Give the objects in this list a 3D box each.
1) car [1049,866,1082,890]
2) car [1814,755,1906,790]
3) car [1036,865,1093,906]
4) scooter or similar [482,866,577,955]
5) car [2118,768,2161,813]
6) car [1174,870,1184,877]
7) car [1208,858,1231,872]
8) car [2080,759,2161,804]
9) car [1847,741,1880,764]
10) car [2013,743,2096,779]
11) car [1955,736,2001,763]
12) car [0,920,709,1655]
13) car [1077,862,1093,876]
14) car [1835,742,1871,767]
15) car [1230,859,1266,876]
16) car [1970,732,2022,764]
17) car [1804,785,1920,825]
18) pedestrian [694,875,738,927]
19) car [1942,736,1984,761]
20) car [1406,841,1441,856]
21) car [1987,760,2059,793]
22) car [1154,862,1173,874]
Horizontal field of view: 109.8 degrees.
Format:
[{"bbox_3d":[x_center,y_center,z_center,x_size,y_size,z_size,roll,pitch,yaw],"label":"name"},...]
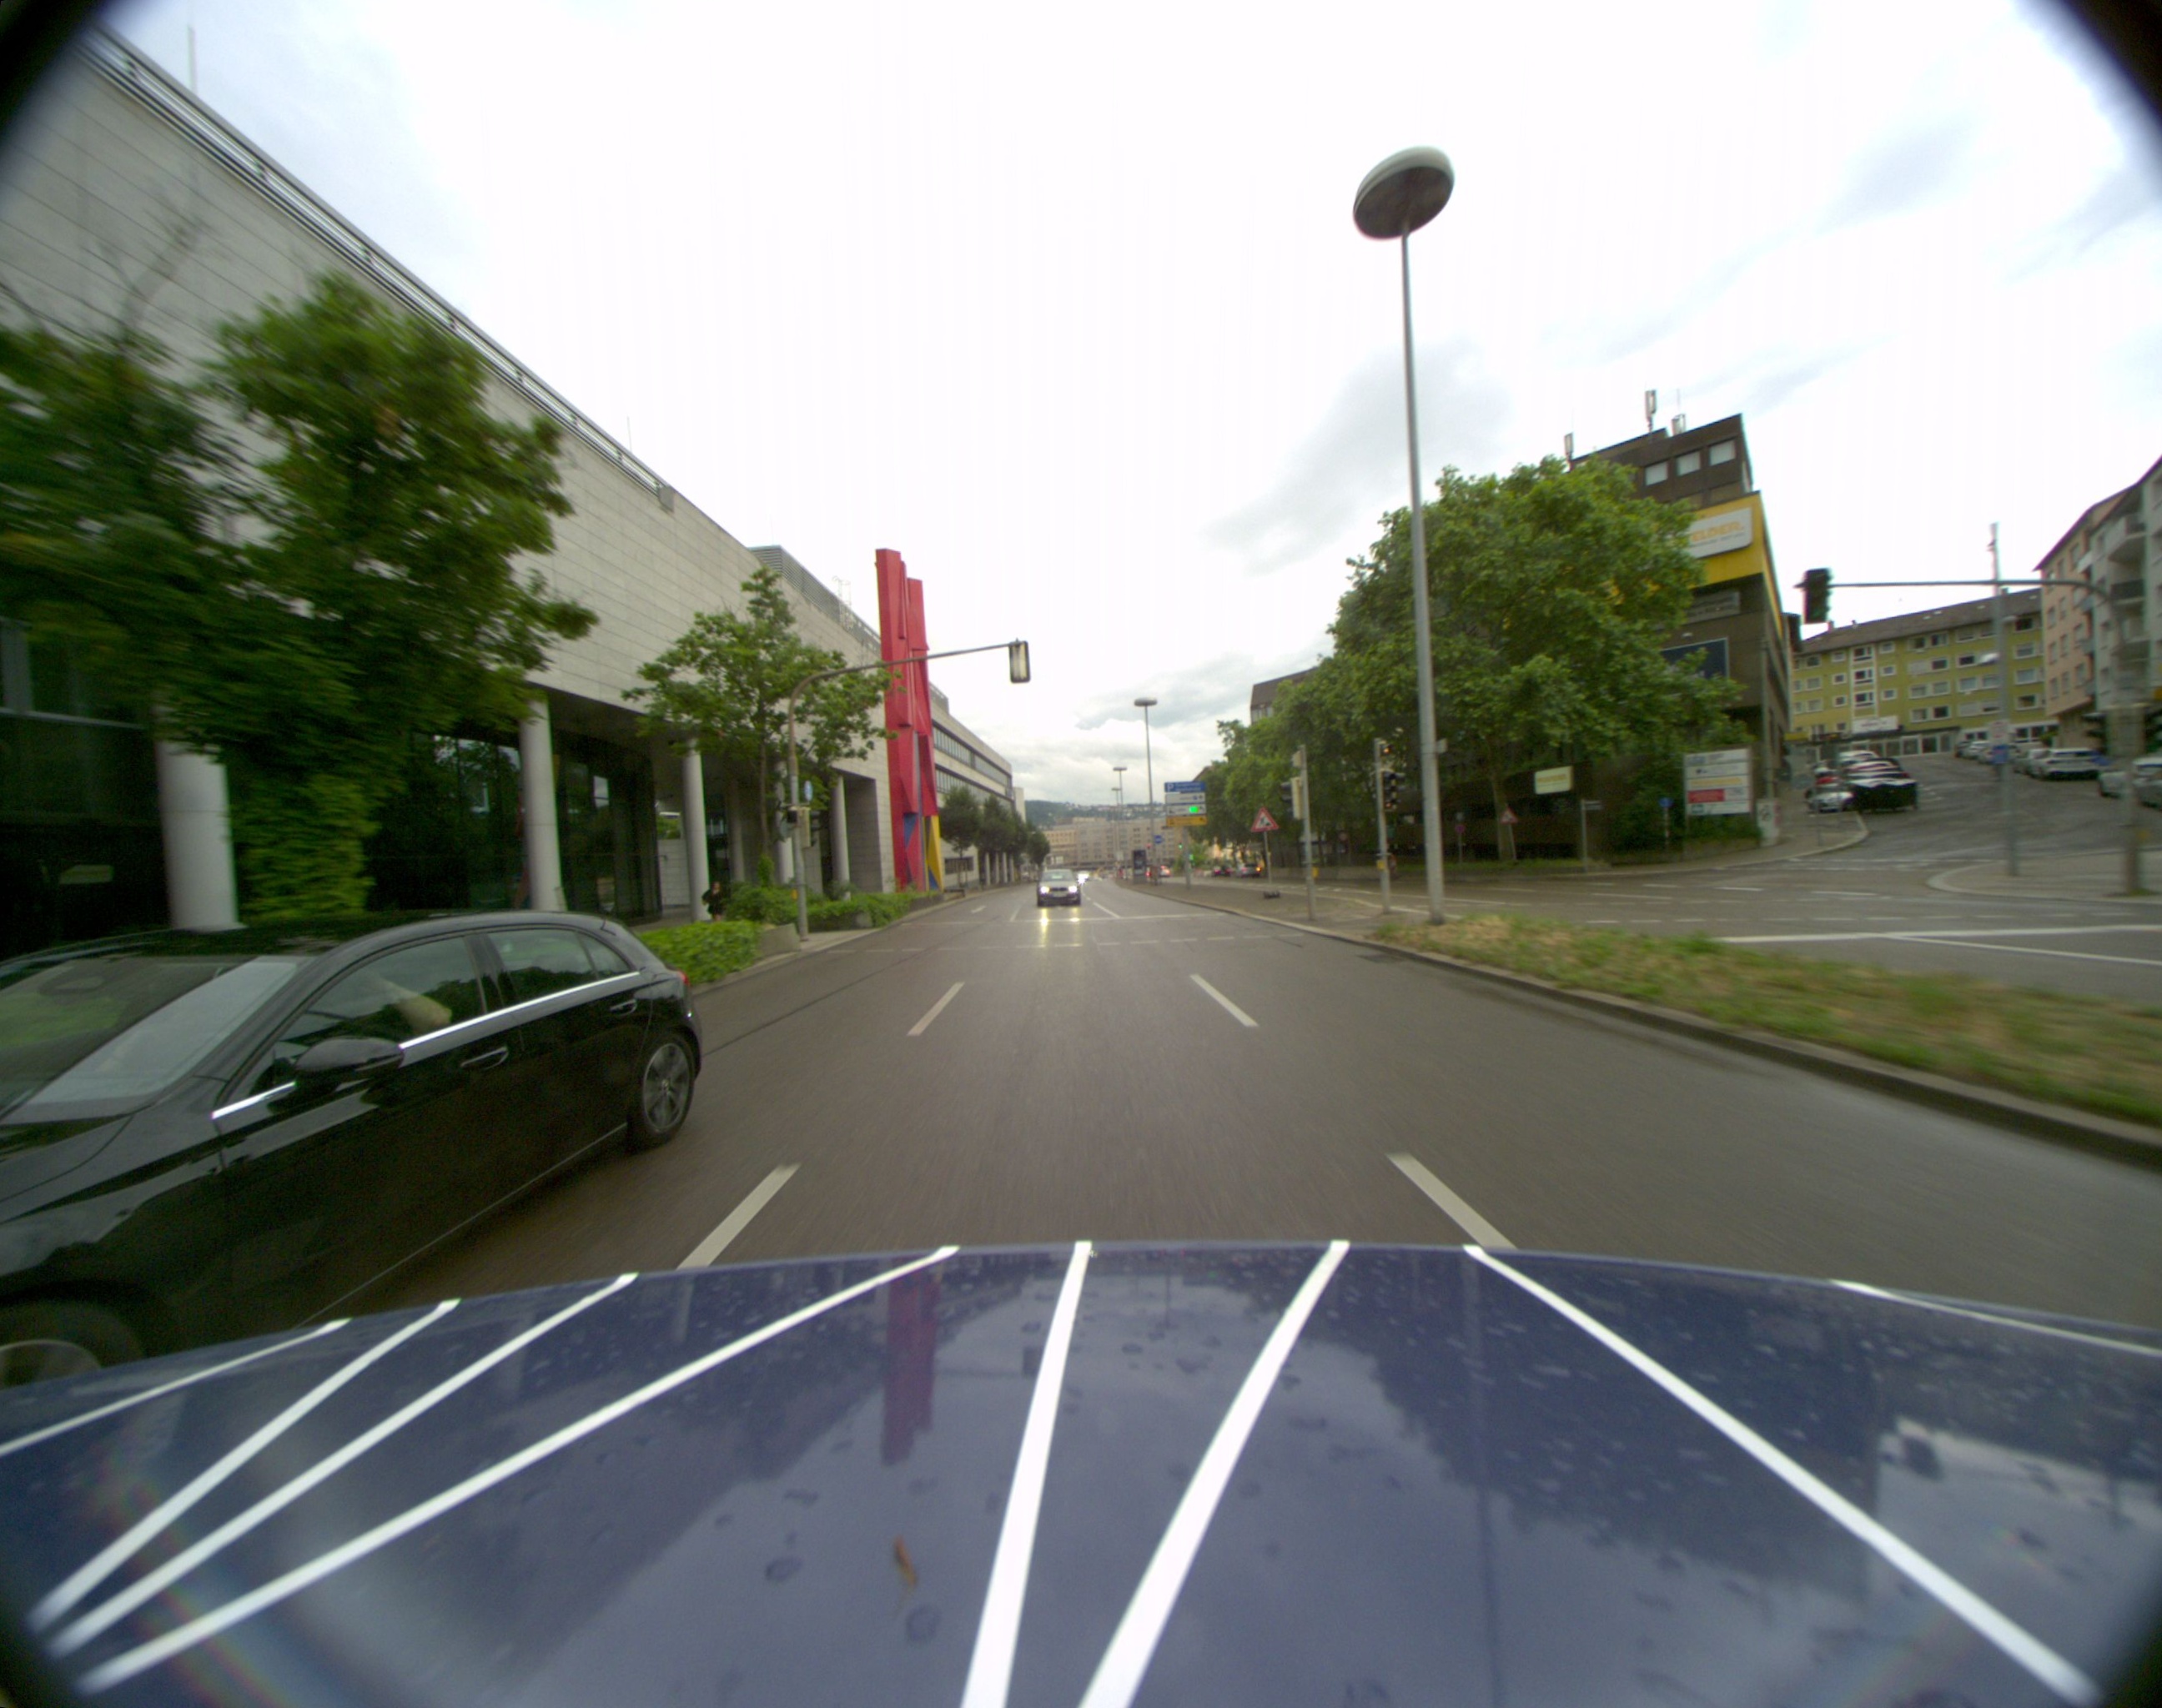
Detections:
[{"bbox_3d":[-0.939,1.506,48.809,1.863,1.449,4.207,-1,-1,2],"label":"car"},{"bbox_3d":[49.239,-5.143,48.131,3.989,1.675,1.823,-3,4,45],"label":"car"},{"bbox_3d":[-0.590,1.242,30.890,1.862,1.428,4.206,0,1,5],"label":"car"},{"bbox_3d":[-10.133,1.023,13.985,1.326,1.521,0.503,-4,0,4],"label":"scooter or similar"},{"bbox_3d":[38.768,-2.335,26.633,1.995,1.457,4.495,-5,1,43],"label":"car"},{"bbox_3d":[22.170,4.370,172.230,1.938,1.428,4.508,-2,-1,2],"label":"car"},{"bbox_3d":[15.843,1.306,86.880,1.758,1.510,4.170,-2,-1,-1],"label":"car"},{"bbox_3d":[42.710,-2.960,30.719,1.995,1.566,4.495,-5,1,43],"label":"car"},{"bbox_3d":[66.420,-8.596,64.548,1.815,1.675,4.005,-2,4,45],"label":"car"},{"bbox_3d":[52.296,-4.960,40.924,1.995,1.566,4.495,-5,1,43],"label":"car"},{"bbox_3d":[70.996,-8.269,60.209,1.995,1.806,4.005,-2,4,45],"label":"car"},{"bbox_3d":[-3.327,1.117,2.614,1.877,1.428,4.206,-2,-1,2],"label":"car"},{"bbox_3d":[0.597,2.184,111.738,1.998,2.001,4.002,-2,-1,4],"label":"car"},{"bbox_3d":[58.565,-7.567,57.710,1.815,1.675,4.005,-2,4,45],"label":"car"},{"bbox_3d":[15.752,1.252,71.852,1.999,1.438,4.880,-2,-1,-3],"label":"car"},{"bbox_3d":[66.580,-7.698,55.352,1.995,2.003,4.005,-2,4,45],"label":"car"},{"bbox_3d":[39.544,-2.436,38.593,3.989,1.674,1.824,-3,0,45],"label":"car"},{"bbox_3d":[-11.646,1.497,24.267,0.972,1.577,0.842,-2,0,-2],"label":"pedestrian"},{"bbox_3d":[75.817,-9.067,65.342,1.995,1.806,4.005,-2,4,45],"label":"car"},{"bbox_3d":[44.030,-0.748,97.685,3.990,1.706,2.004,-3,-1,27],"label":"car"},{"bbox_3d":[56.414,-4.617,45.568,1.995,1.566,4.495,-7,0,43],"label":"car"},{"bbox_3d":[10.912,1.887,100.566,1.759,1.510,3.739,-2,-1,-5],"label":"car"}]
